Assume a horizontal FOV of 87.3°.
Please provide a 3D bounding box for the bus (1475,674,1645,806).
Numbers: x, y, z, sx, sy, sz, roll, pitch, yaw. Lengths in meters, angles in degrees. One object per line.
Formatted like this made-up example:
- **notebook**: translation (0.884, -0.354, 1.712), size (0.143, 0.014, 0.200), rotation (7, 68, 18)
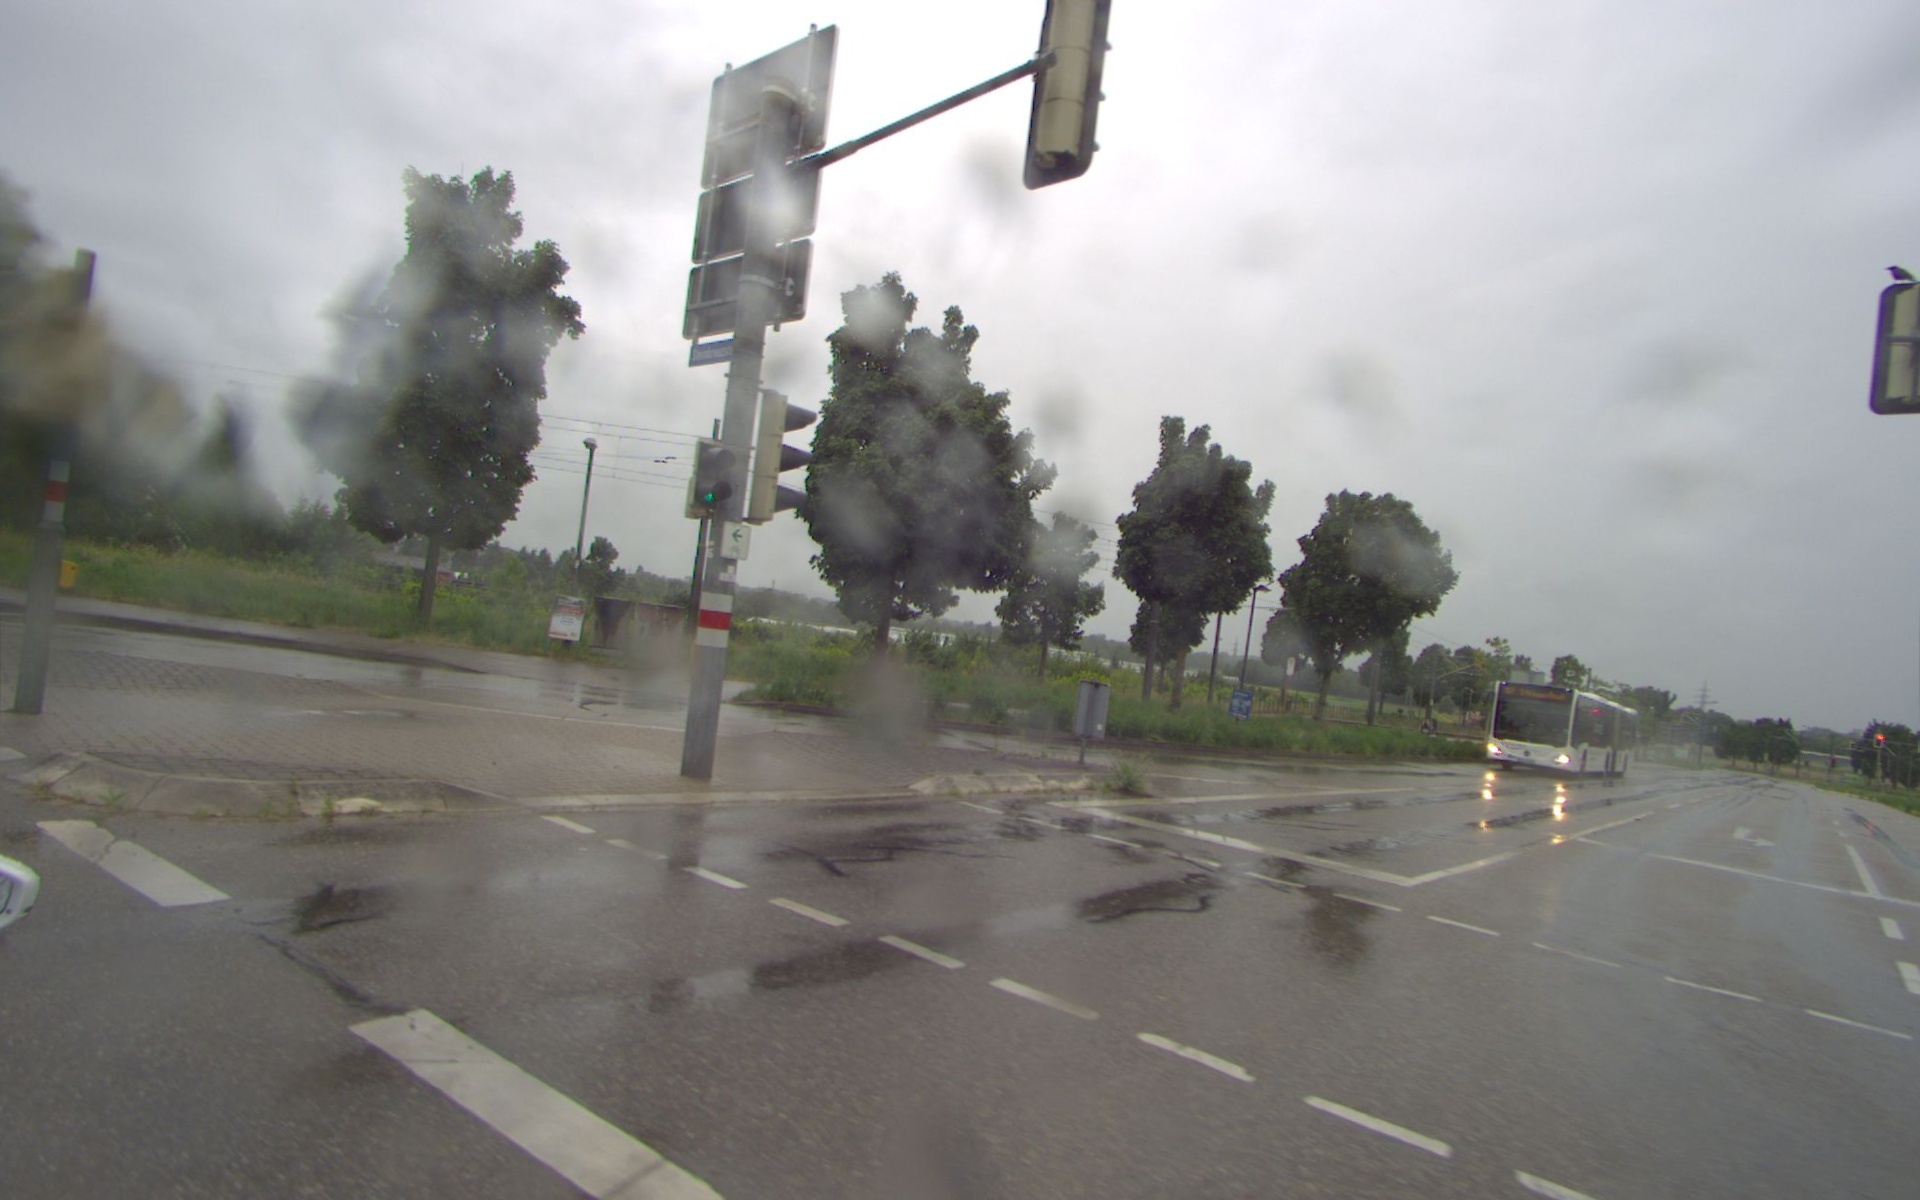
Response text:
- **bus**: translation (24.280, 5.519, 39.823), size (2.717, 3.827, 18.374), rotation (7, -2, 40)
